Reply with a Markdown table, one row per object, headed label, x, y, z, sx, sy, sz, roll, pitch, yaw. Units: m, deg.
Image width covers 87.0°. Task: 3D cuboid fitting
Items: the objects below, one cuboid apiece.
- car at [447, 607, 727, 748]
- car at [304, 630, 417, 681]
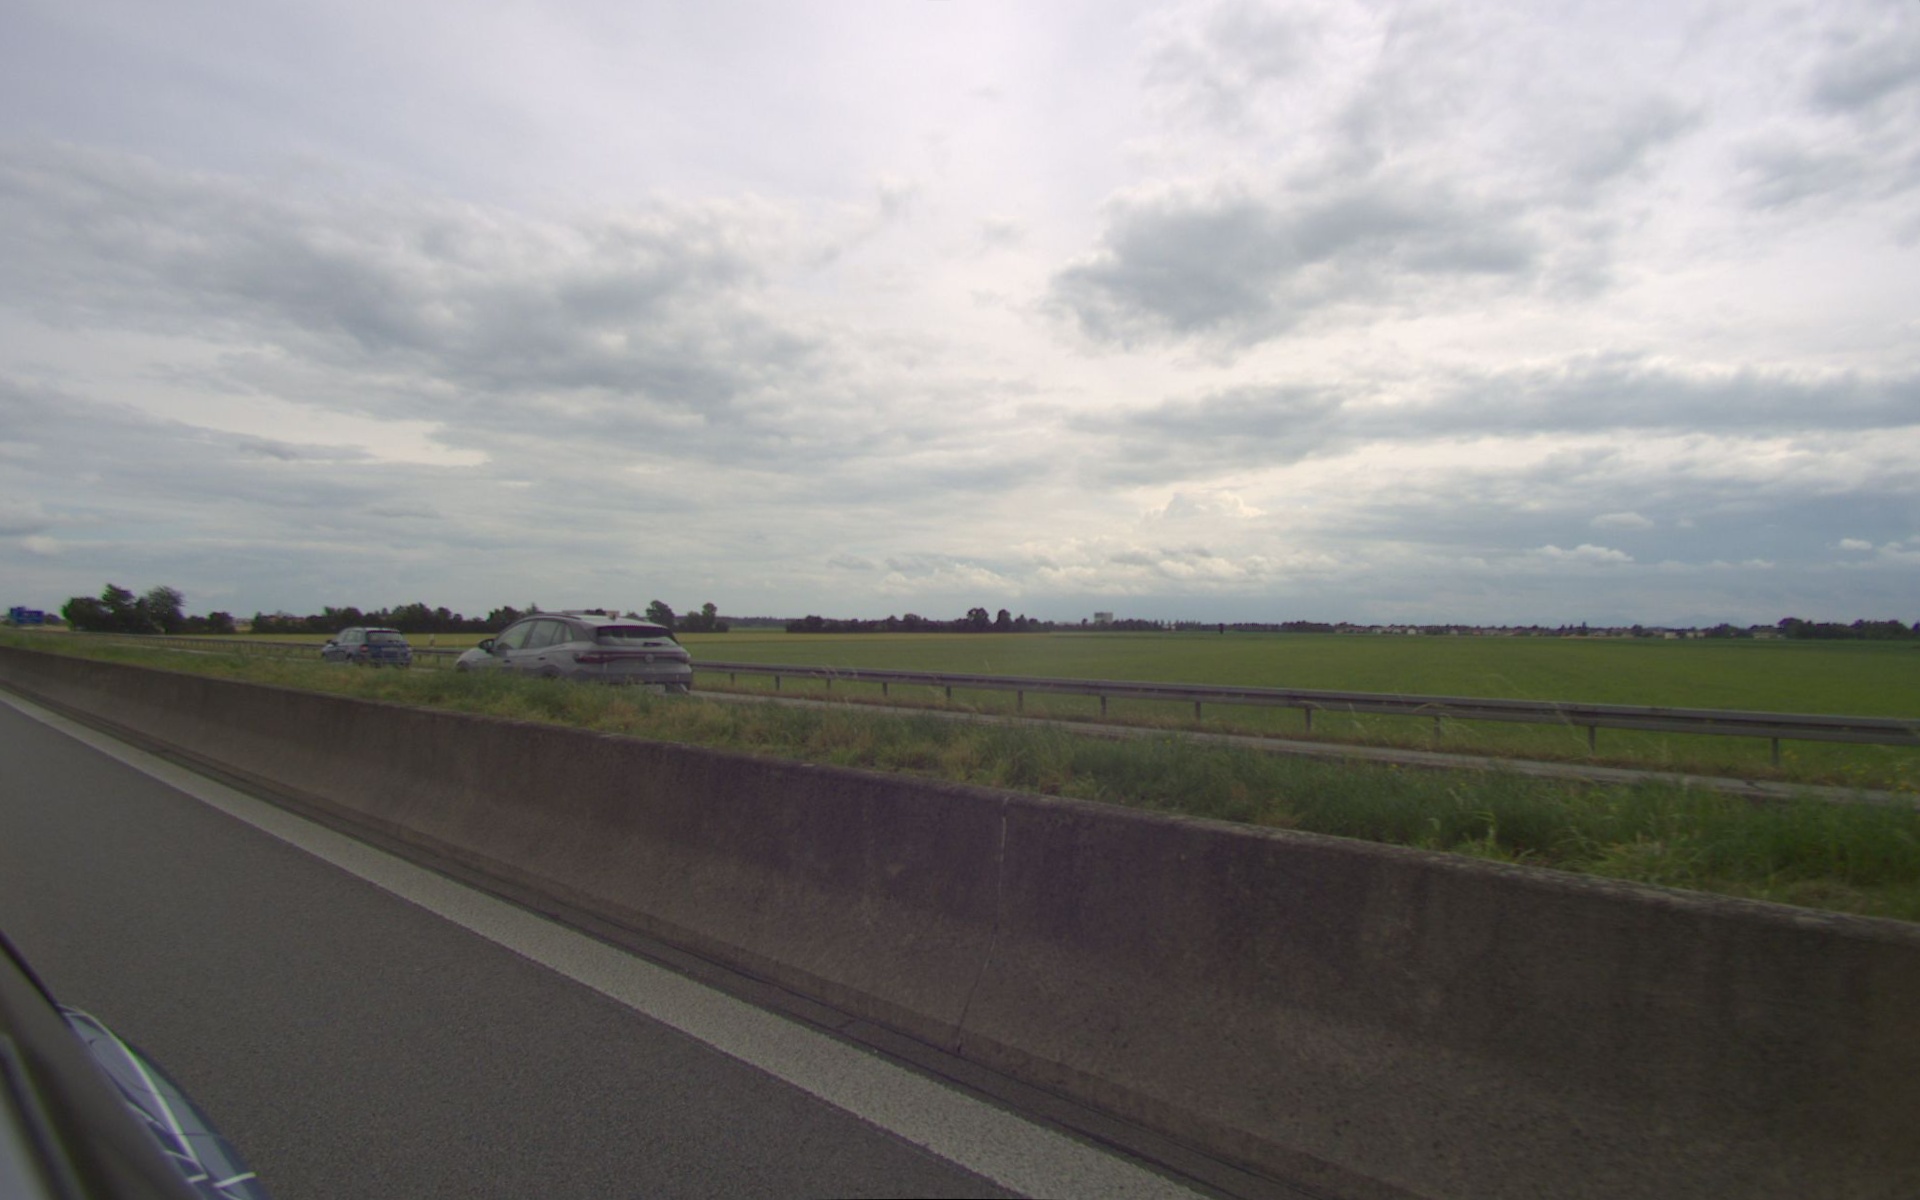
| label | x | y | z | sx | sy | sz | roll | pitch | yaw |
| --- | --- | --- | --- | --- | --- | --- | --- | --- | --- |
| car | -5.401 | 1.002 | 14.397 | 4.356 | 1.707 | 1.822 | -1 | -3 | 41 |
| car | -19.174 | 1.737 | 32.285 | 4.528 | 1.499 | 1.728 | -1 | -4 | 41 |
